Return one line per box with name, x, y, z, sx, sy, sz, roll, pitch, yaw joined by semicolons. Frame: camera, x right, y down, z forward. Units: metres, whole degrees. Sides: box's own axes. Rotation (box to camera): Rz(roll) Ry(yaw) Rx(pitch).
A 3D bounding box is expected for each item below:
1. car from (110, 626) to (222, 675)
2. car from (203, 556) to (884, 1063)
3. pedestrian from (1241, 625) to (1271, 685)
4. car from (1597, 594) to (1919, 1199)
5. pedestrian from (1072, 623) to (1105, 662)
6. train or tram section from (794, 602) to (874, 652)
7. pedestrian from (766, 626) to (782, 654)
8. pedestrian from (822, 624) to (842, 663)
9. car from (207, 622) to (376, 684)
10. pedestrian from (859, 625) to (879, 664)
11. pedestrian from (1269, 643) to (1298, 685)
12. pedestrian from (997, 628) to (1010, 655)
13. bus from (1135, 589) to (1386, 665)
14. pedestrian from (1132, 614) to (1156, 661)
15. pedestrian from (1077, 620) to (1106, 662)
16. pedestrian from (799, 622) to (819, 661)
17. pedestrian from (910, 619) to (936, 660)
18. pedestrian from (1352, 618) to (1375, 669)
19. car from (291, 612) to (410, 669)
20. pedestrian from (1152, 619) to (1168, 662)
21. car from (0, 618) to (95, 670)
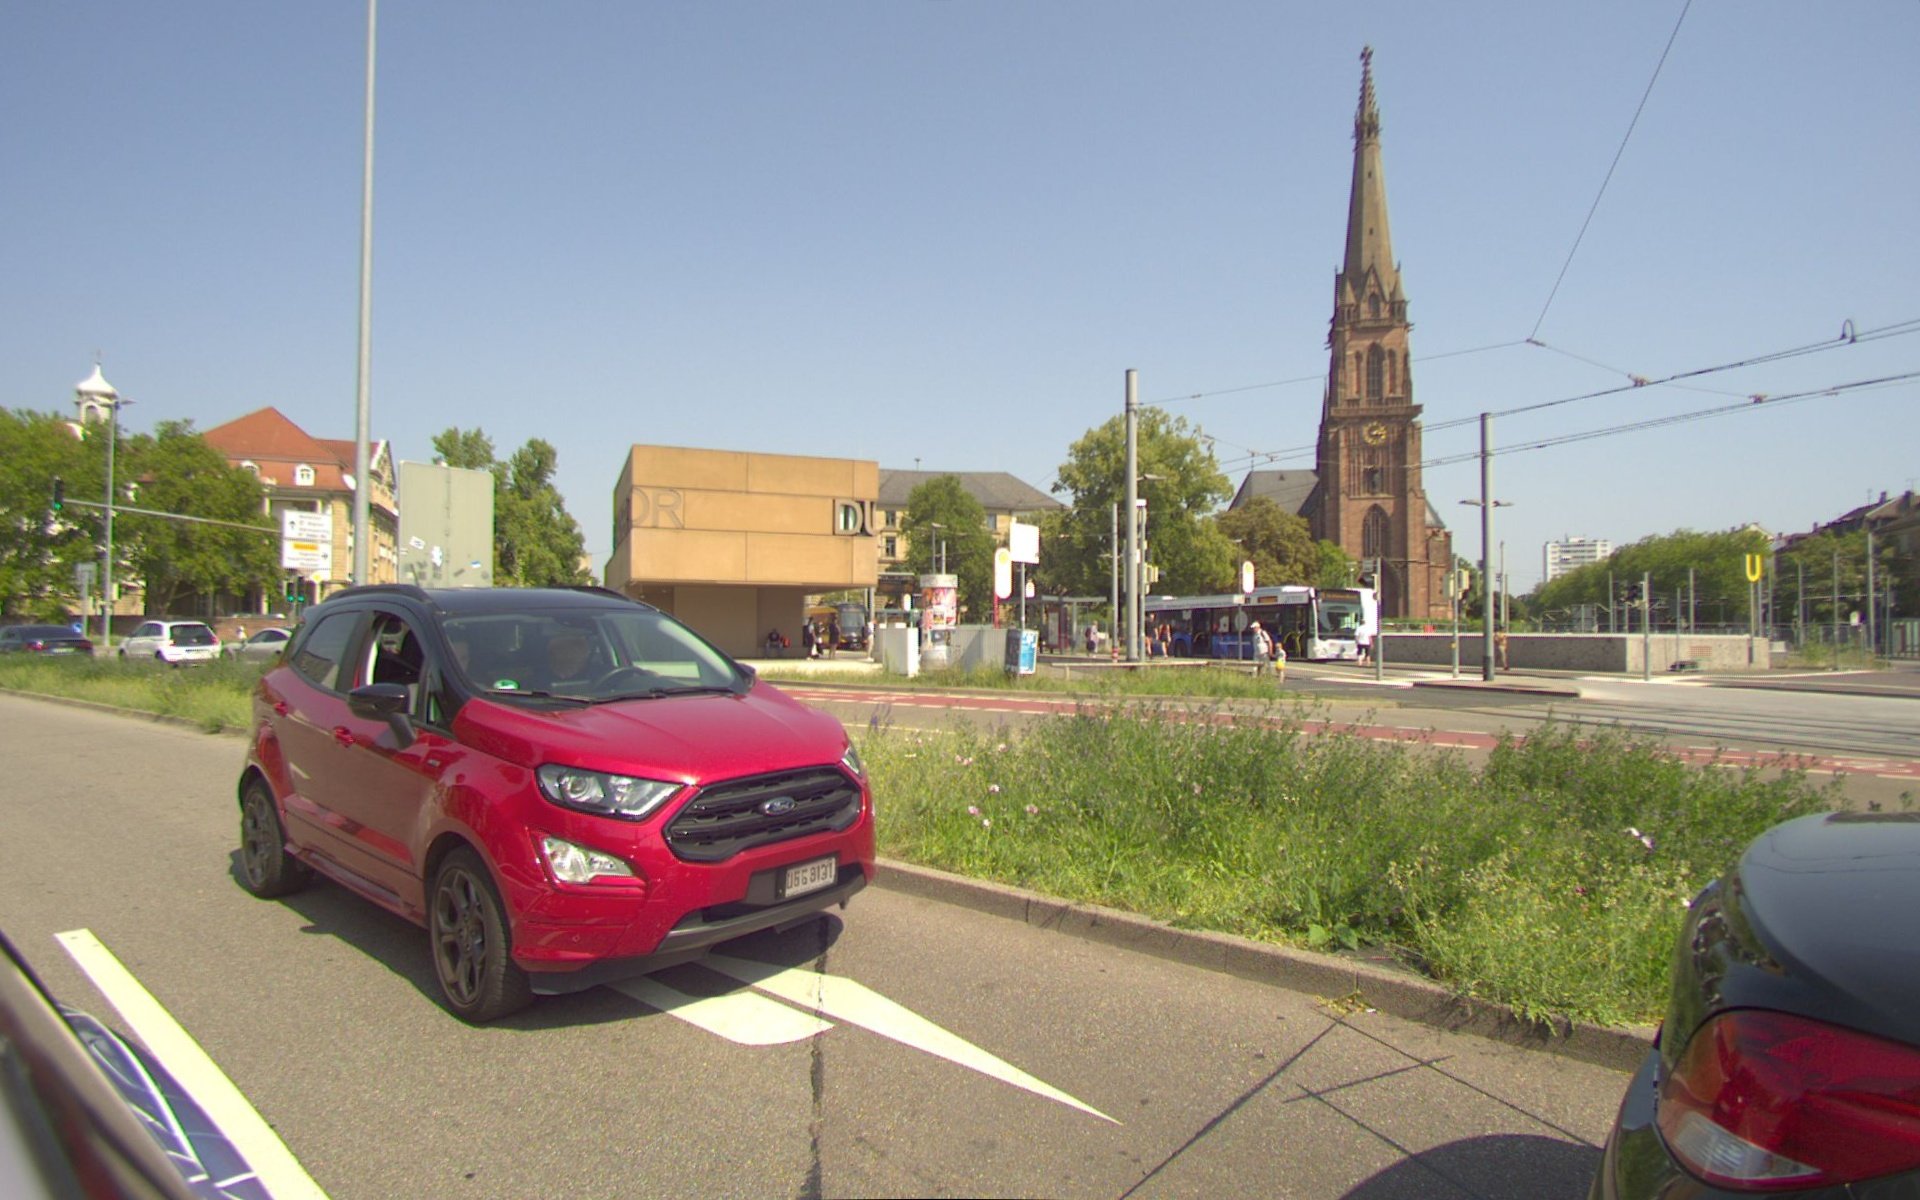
car;-25.325;1.584;32.266;3.460;1.490;1.512;-1;-2;27
car;-2.325;0.695;5.113;3.843;1.598;1.672;-2;-1;42
pedestrian;8.548;1.573;29.212;0.683;1.724;0.536;0;-2;0
car;2.701;0.659;0.454;1.745;1.398;3.783;0;-1;-45
pedestrian;5.706;1.884;45.020;1.060;1.709;1.068;1;-2;-21
train or tram section;-9.668;2.057;75.891;2.658;3.465;13.464;1;-2;-21
pedestrian;-7.451;1.586;40.577;0.530;1.108;0.543;1;-2;-18
pedestrian;-5.055;1.719;39.883;0.541;1.508;0.532;-1;-3;39
car;-18.809;1.444;28.446;4.693;1.597;1.981;-1;-2;28
pedestrian;-3.586;1.748;39.776;0.541;1.508;0.532;-1;-3;39
pedestrian;9.244;1.824;28.948;0.593;1.134;0.638;-1;0;0
pedestrian;2.288;2.173;53.401;0.546;1.405;0.535;1;-2;-21
bus;12.053;1.174;42.805;3.346;2.733;12.382;1;-2;-21
pedestrian;7.242;1.487;39.847;0.792;1.837;0.535;1;-2;-21
pedestrian;5.848;1.829;45.112;0.913;1.837;0.940;1;-2;-22
pedestrian;-5.829;1.587;38.989;0.541;1.508;0.532;-1;-3;39
pedestrian;-1.379;1.451;37.376;0.605;1.508;0.761;-1;-3;39
pedestrian;14.482;1.554;36.353;0.637;1.825;0.594;-1;0;35
car;-21.271;1.376;35.330;3.899;1.868;1.850;0;-2;29
pedestrian;8.531;1.711;43.139;0.632;1.825;0.599;-1;0;16
car;-26.846;1.274;29.508;3.466;1.437;1.510;-1;-2;32
